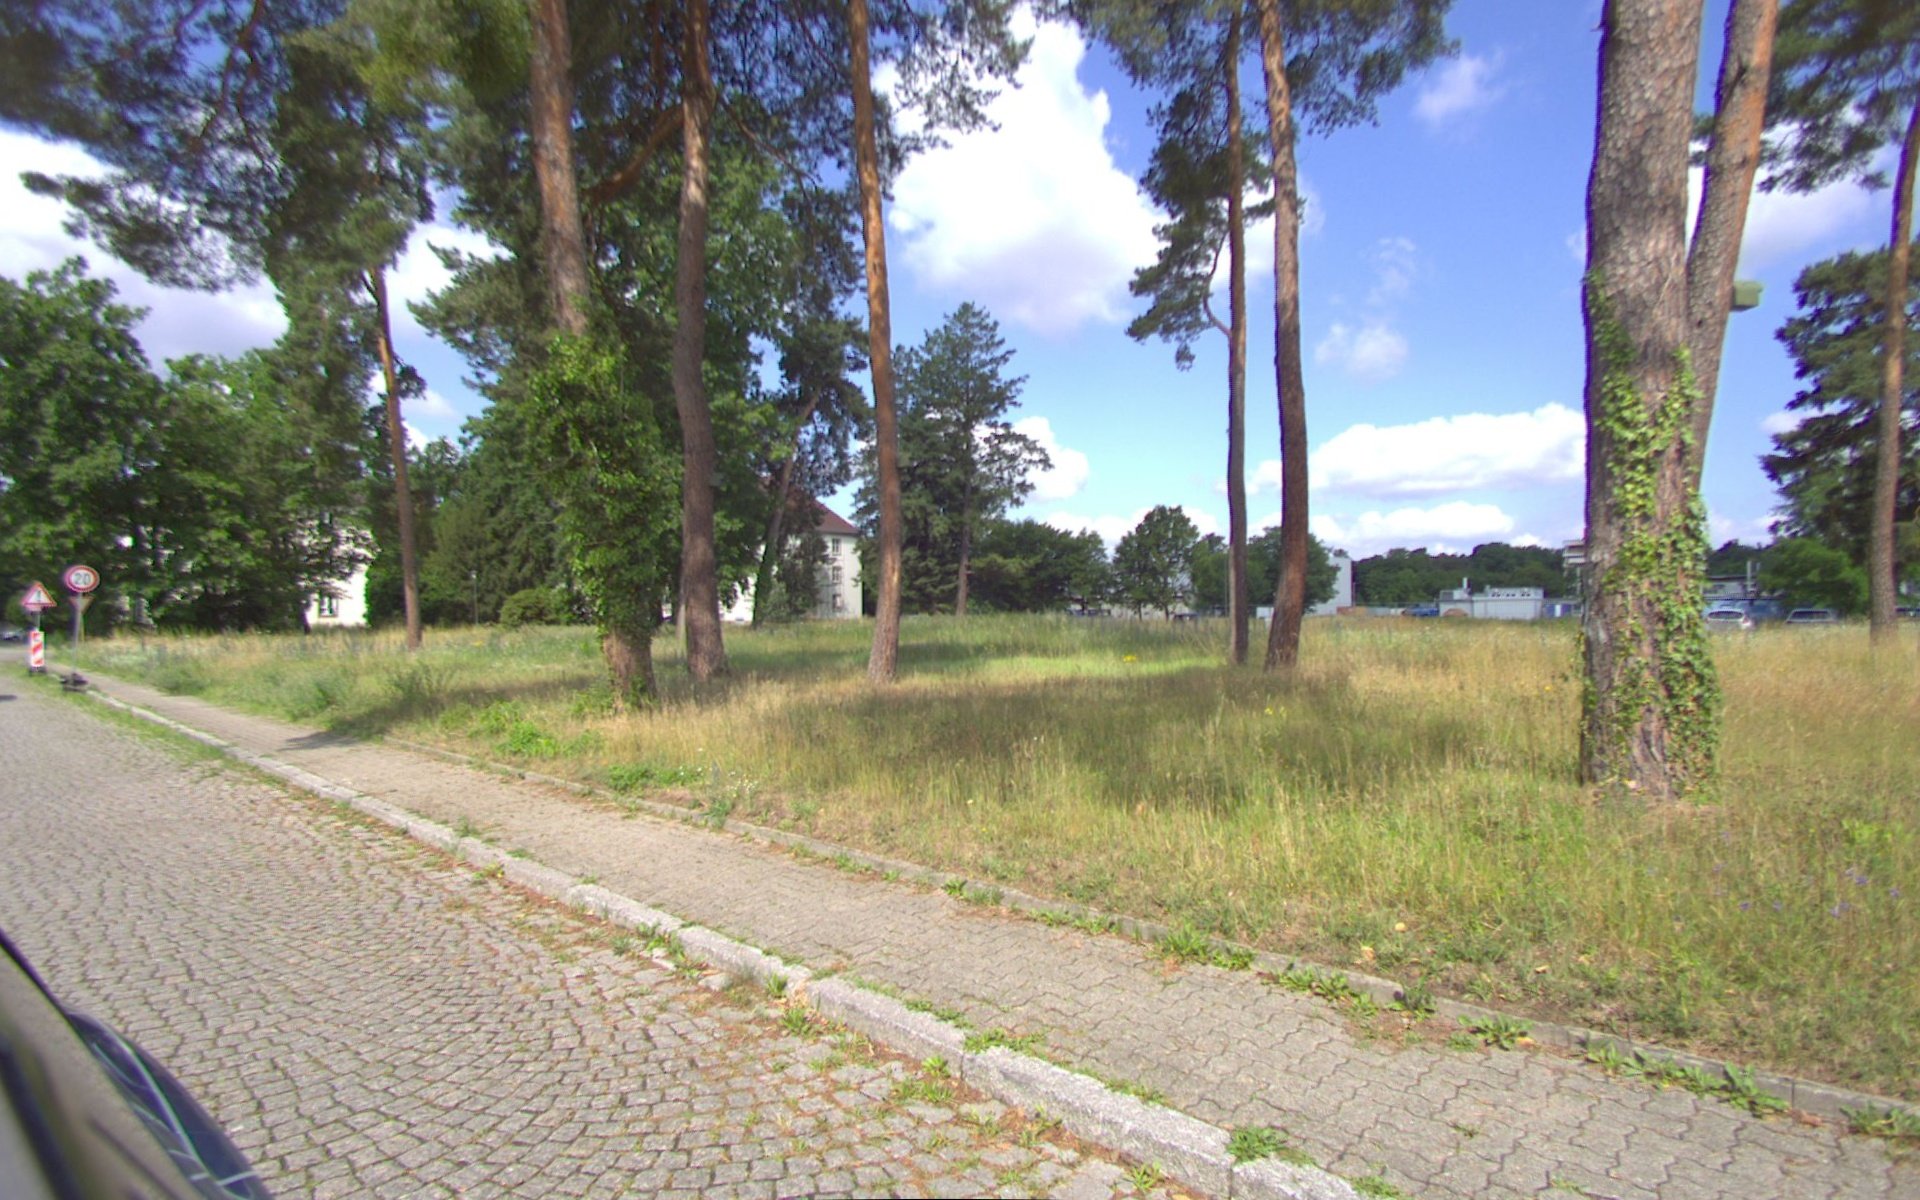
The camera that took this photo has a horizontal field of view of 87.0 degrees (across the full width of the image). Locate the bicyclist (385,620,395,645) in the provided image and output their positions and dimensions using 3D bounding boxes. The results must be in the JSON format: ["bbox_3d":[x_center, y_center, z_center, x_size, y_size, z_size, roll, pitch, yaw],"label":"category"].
[{"bbox_3d":[-42.136,2.402,74.801,0.562,1.784,0.636,0,-2,-39],"label":"bicyclist"}]

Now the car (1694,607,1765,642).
[{"bbox_3d":[31.340,1.016,41.164,1.901,1.349,4.021,-2,-2,43],"label":"car"}]

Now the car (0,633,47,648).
[{"bbox_3d":[-103.435,4.467,111.510,1.767,1.656,4.028,-2,-2,43],"label":"car"}]

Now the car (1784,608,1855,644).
[{"bbox_3d":[33.065,0.996,38.891,1.901,1.330,4.021,-2,-2,43],"label":"car"}]

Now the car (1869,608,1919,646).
[{"bbox_3d":[34.721,0.991,37.180,1.901,1.319,4.021,-2,-2,43],"label":"car"}]

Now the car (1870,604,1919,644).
[{"bbox_3d":[42.029,1.072,45.226,1.901,1.715,4.021,-2,-2,43],"label":"car"}]

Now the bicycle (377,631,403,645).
[{"bbox_3d":[-42.125,2.789,74.788,1.533,1.004,0.636,0,-2,-40],"label":"bicycle"}]

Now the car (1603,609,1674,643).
[{"bbox_3d":[29.010,1.110,43.256,1.901,1.359,4.013,-2,-2,43],"label":"car"}]
